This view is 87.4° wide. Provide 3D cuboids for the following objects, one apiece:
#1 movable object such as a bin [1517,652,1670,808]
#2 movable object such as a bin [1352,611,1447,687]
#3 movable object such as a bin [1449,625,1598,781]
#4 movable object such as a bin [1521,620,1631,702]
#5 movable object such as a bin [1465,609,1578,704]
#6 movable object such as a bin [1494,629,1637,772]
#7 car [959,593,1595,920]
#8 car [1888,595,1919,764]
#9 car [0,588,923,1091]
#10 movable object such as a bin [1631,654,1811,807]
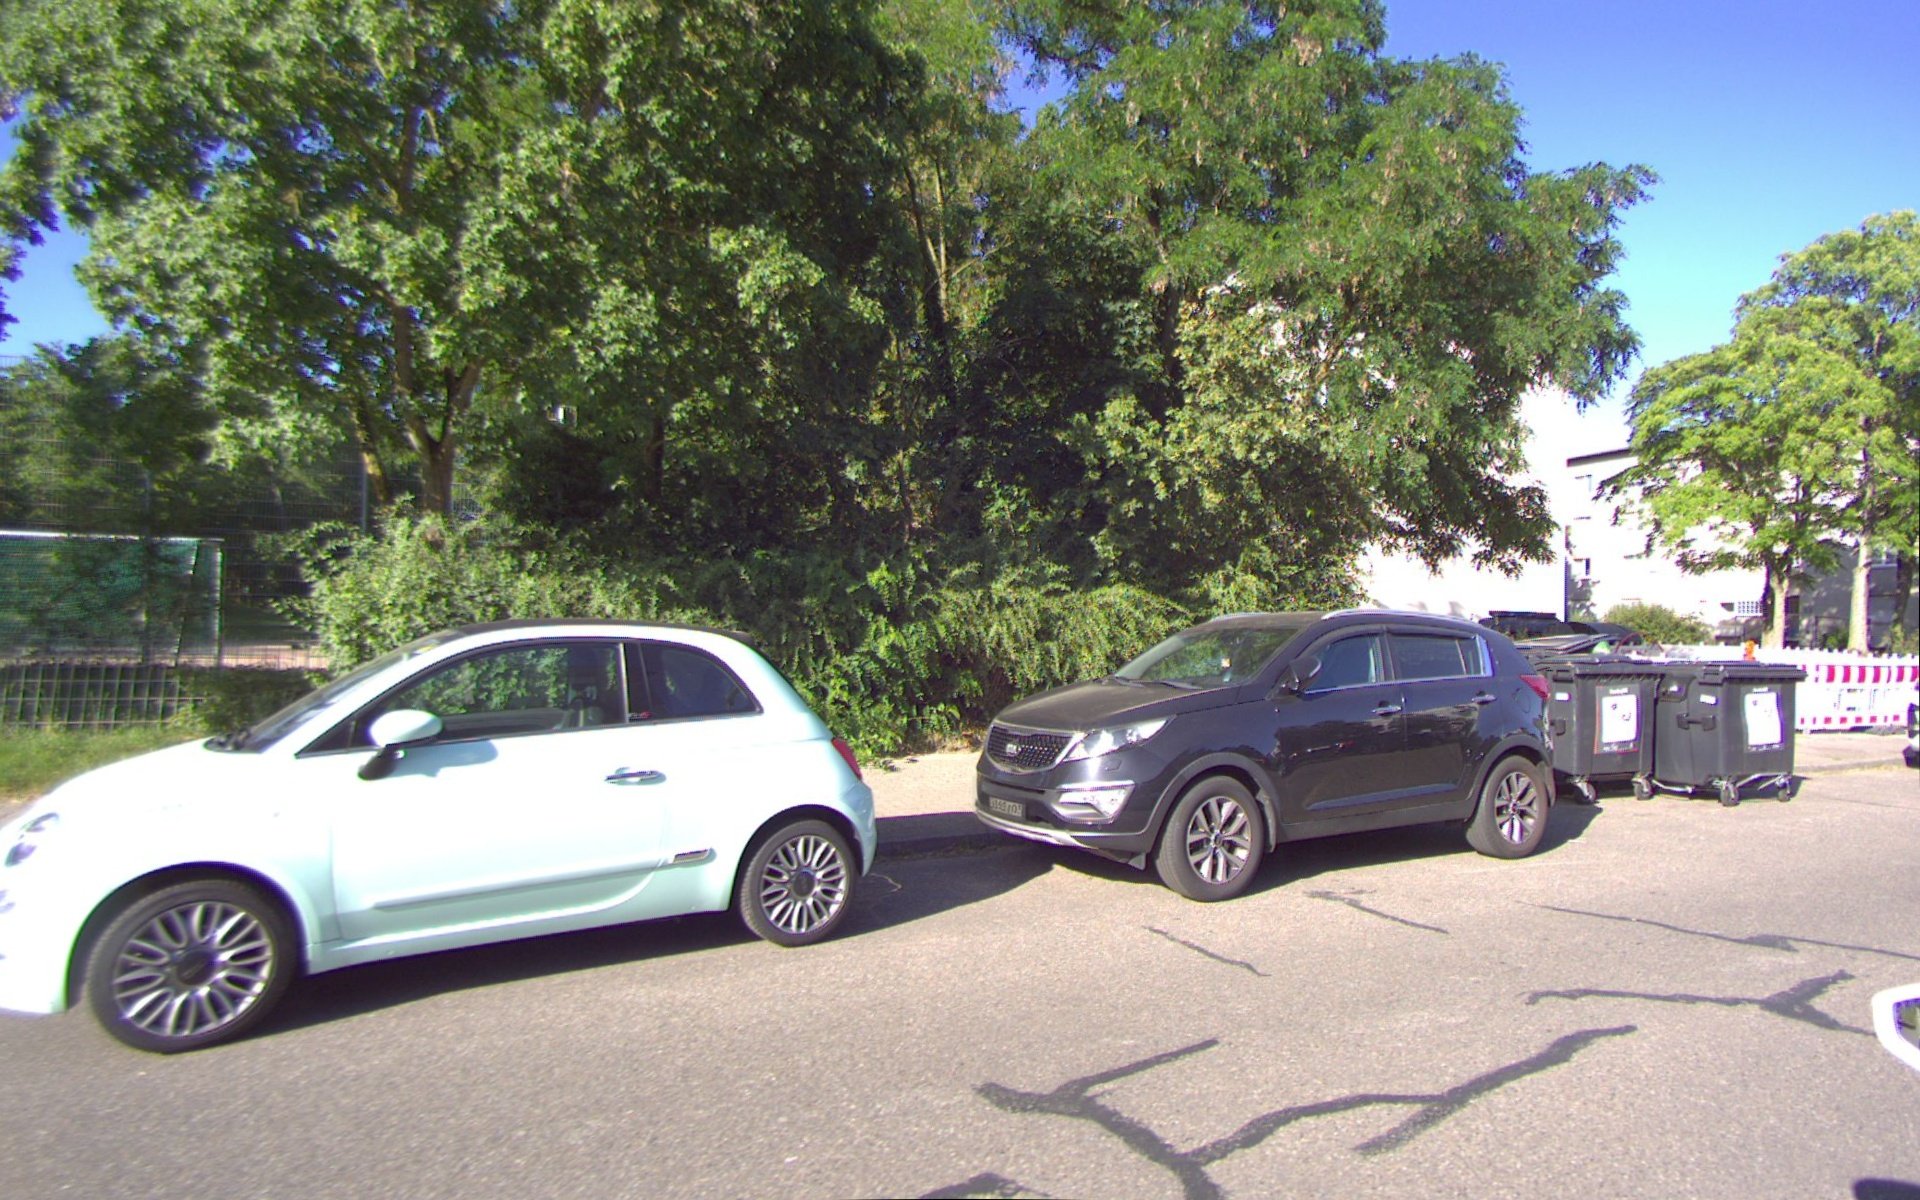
[{"bbox_3d":[5.940,1.186,9.425,1.251,1.357,0.607,2,-1,-24],"label":"movable object such as a bin"},{"bbox_3d":[9.045,1.002,20.705,1.262,1.509,1.254,2,-1,-25],"label":"movable object such as a bin"},{"bbox_3d":[5.871,1.031,10.492,0.885,1.487,1.054,2,0,-36],"label":"movable object such as a bin"},{"bbox_3d":[11.287,1.101,18.431,1.247,1.420,1.270,2,-1,-28],"label":"movable object such as a bin"},{"bbox_3d":[9.732,0.958,17.434,1.266,1.572,1.251,2,-1,-32],"label":"movable object such as a bin"},{"bbox_3d":[6.621,1.056,10.997,0.885,1.419,1.054,2,0,-36],"label":"movable object such as a bin"},{"bbox_3d":[2.230,0.880,6.838,4.196,1.660,1.668,2,-2,-28],"label":"car"},{"bbox_3d":[13.580,0.990,12.223,4.609,1.987,1.857,2,-1,-26],"label":"car"},{"bbox_3d":[-2.038,0.795,4.672,3.383,1.548,1.616,2,-1,-33],"label":"car"},{"bbox_3d":[7.223,1.195,9.554,1.301,1.333,0.802,1,-1,-21],"label":"movable object such as a bin"}]
